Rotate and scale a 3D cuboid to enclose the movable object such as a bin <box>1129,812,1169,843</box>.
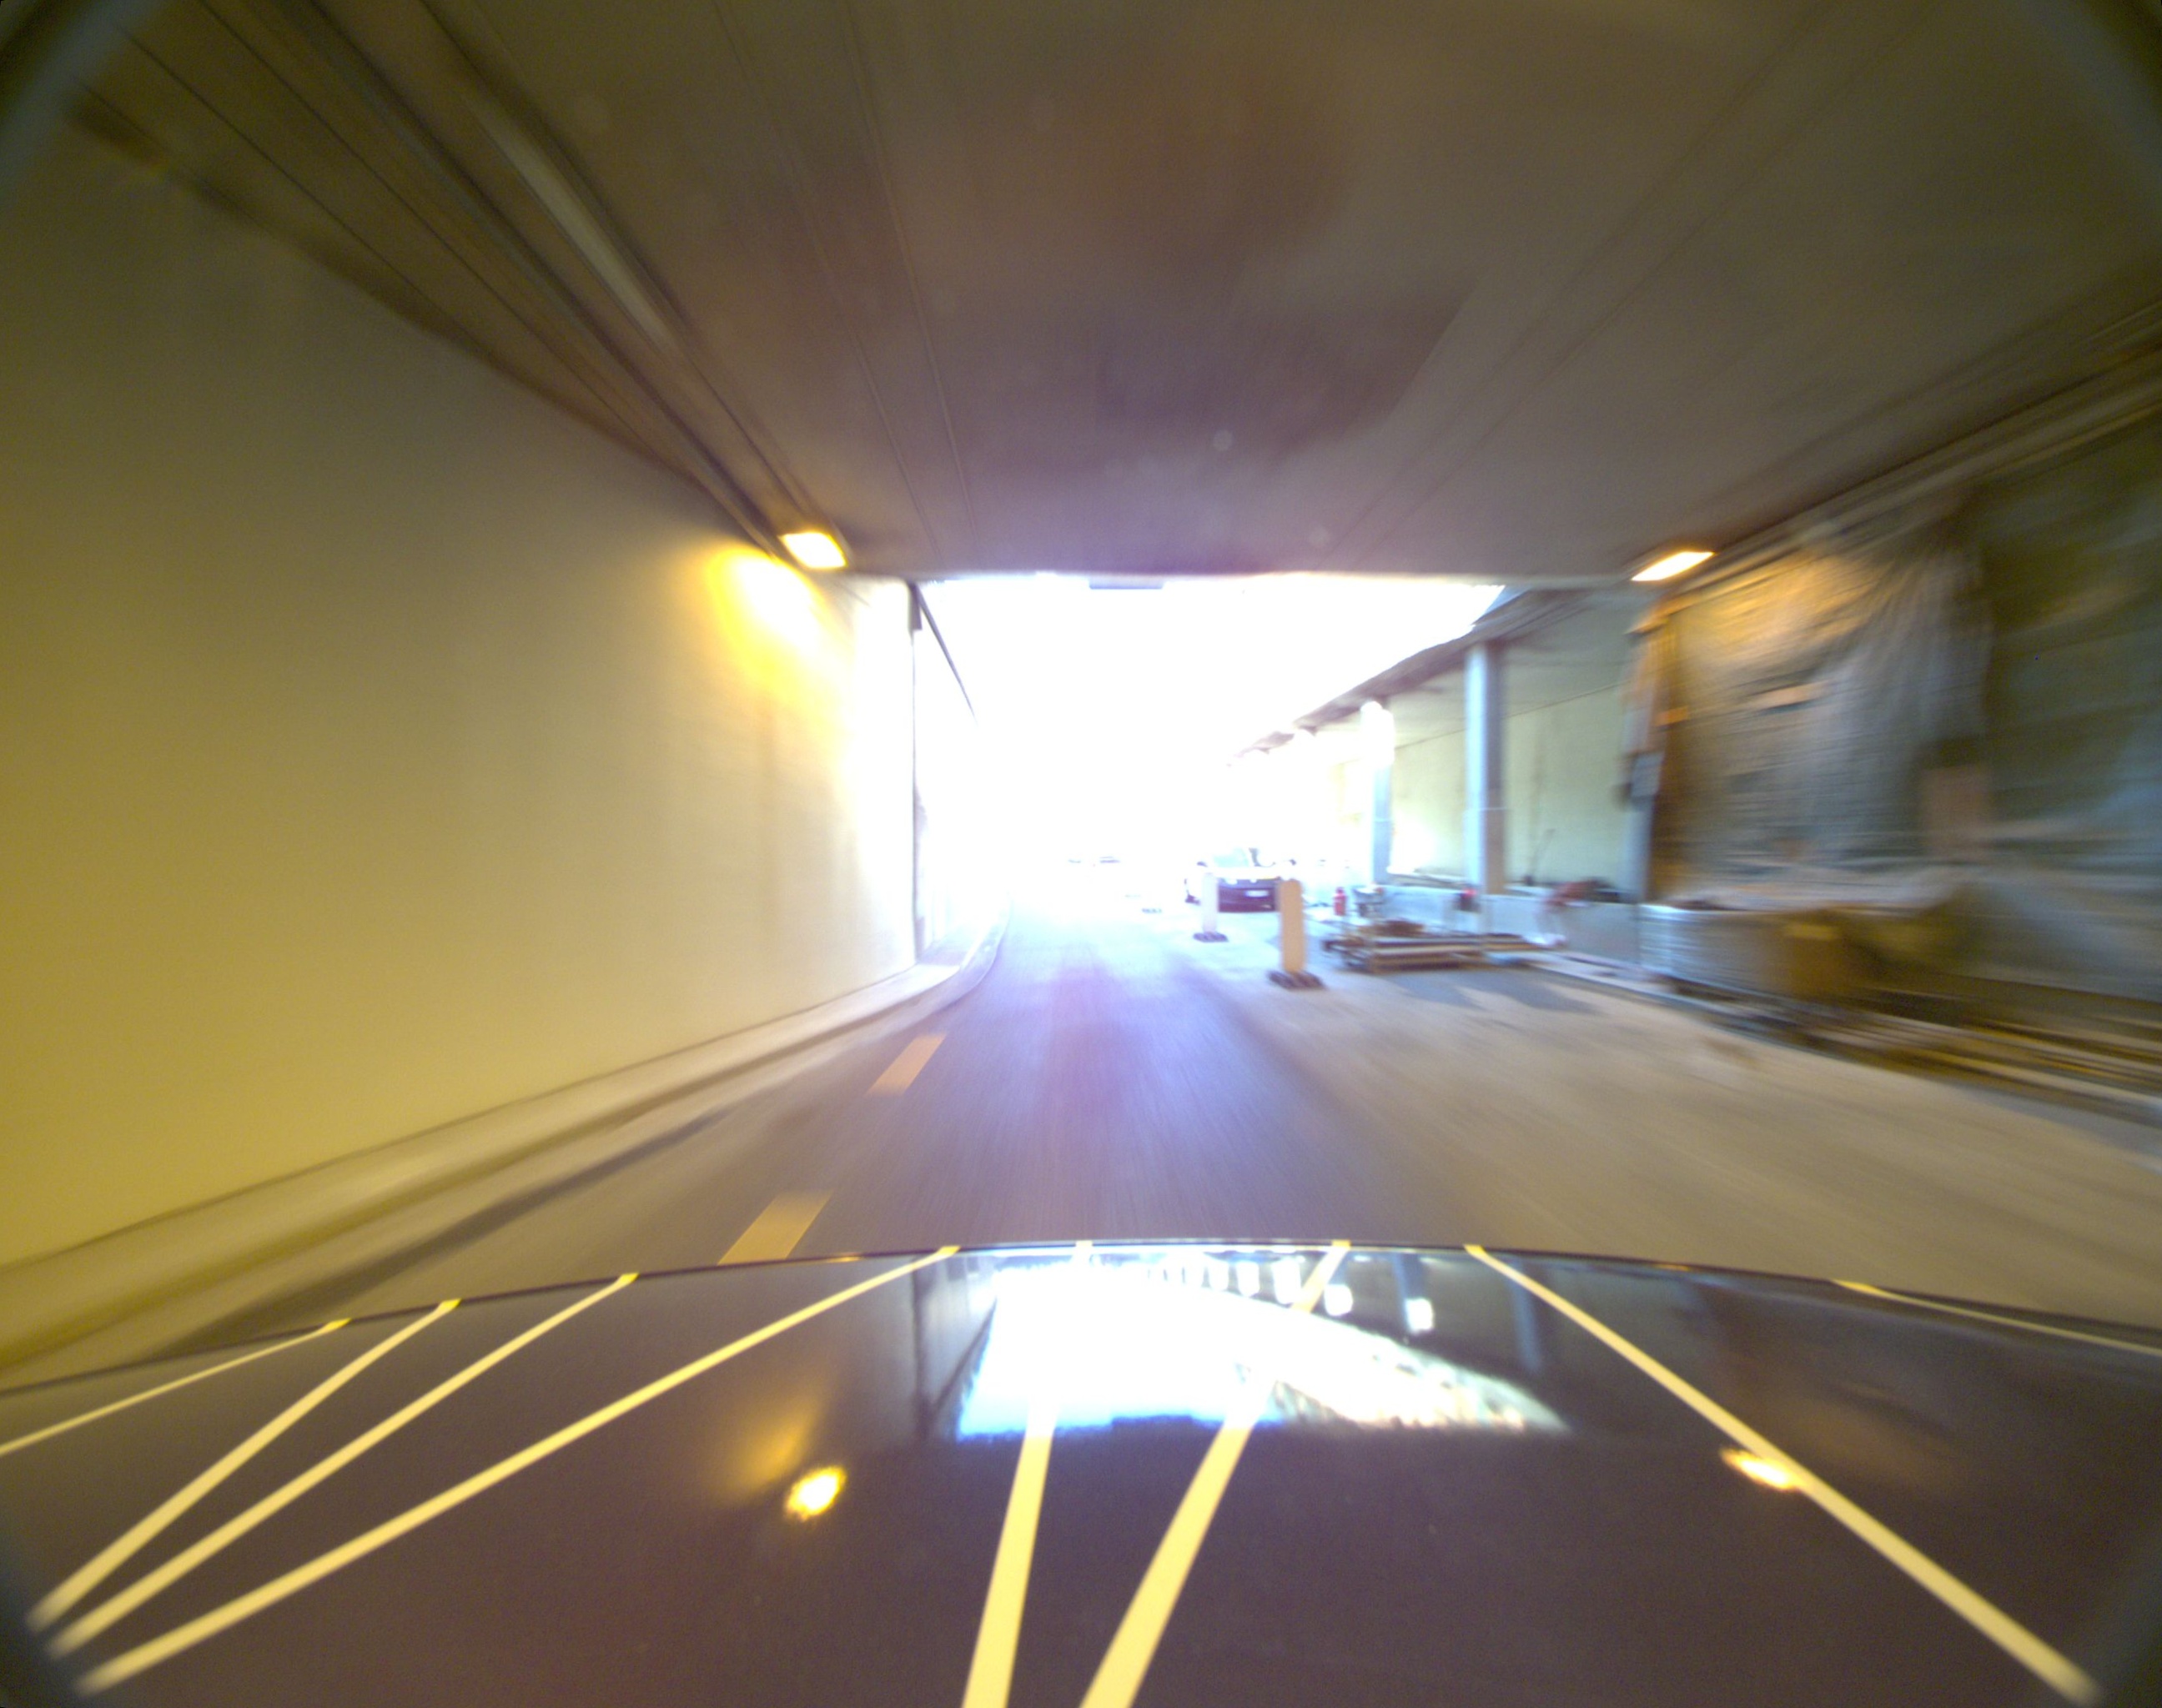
[{"bbox_3d":[4.691,-1.853,52.457,1.892,1.976,3.154,-2,3,-12],"label":"movable object such as a bin"}]

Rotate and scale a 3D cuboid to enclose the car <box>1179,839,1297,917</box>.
[{"bbox_3d":[3.914,0.511,19.738,1.853,1.765,4.431,-1,1,-4],"label":"car"}]

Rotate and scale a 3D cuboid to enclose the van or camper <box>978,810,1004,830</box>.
[{"bbox_3d":[-12.433,-4.640,104.293,2.202,2.599,6.810,-3,4,-17],"label":"van or camper"}]

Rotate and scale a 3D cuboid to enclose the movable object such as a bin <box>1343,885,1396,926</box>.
[{"bbox_3d":[5.908,1.039,15.604,0.653,0.737,1.031,-1,2,-4],"label":"movable object such as a bin"}]
